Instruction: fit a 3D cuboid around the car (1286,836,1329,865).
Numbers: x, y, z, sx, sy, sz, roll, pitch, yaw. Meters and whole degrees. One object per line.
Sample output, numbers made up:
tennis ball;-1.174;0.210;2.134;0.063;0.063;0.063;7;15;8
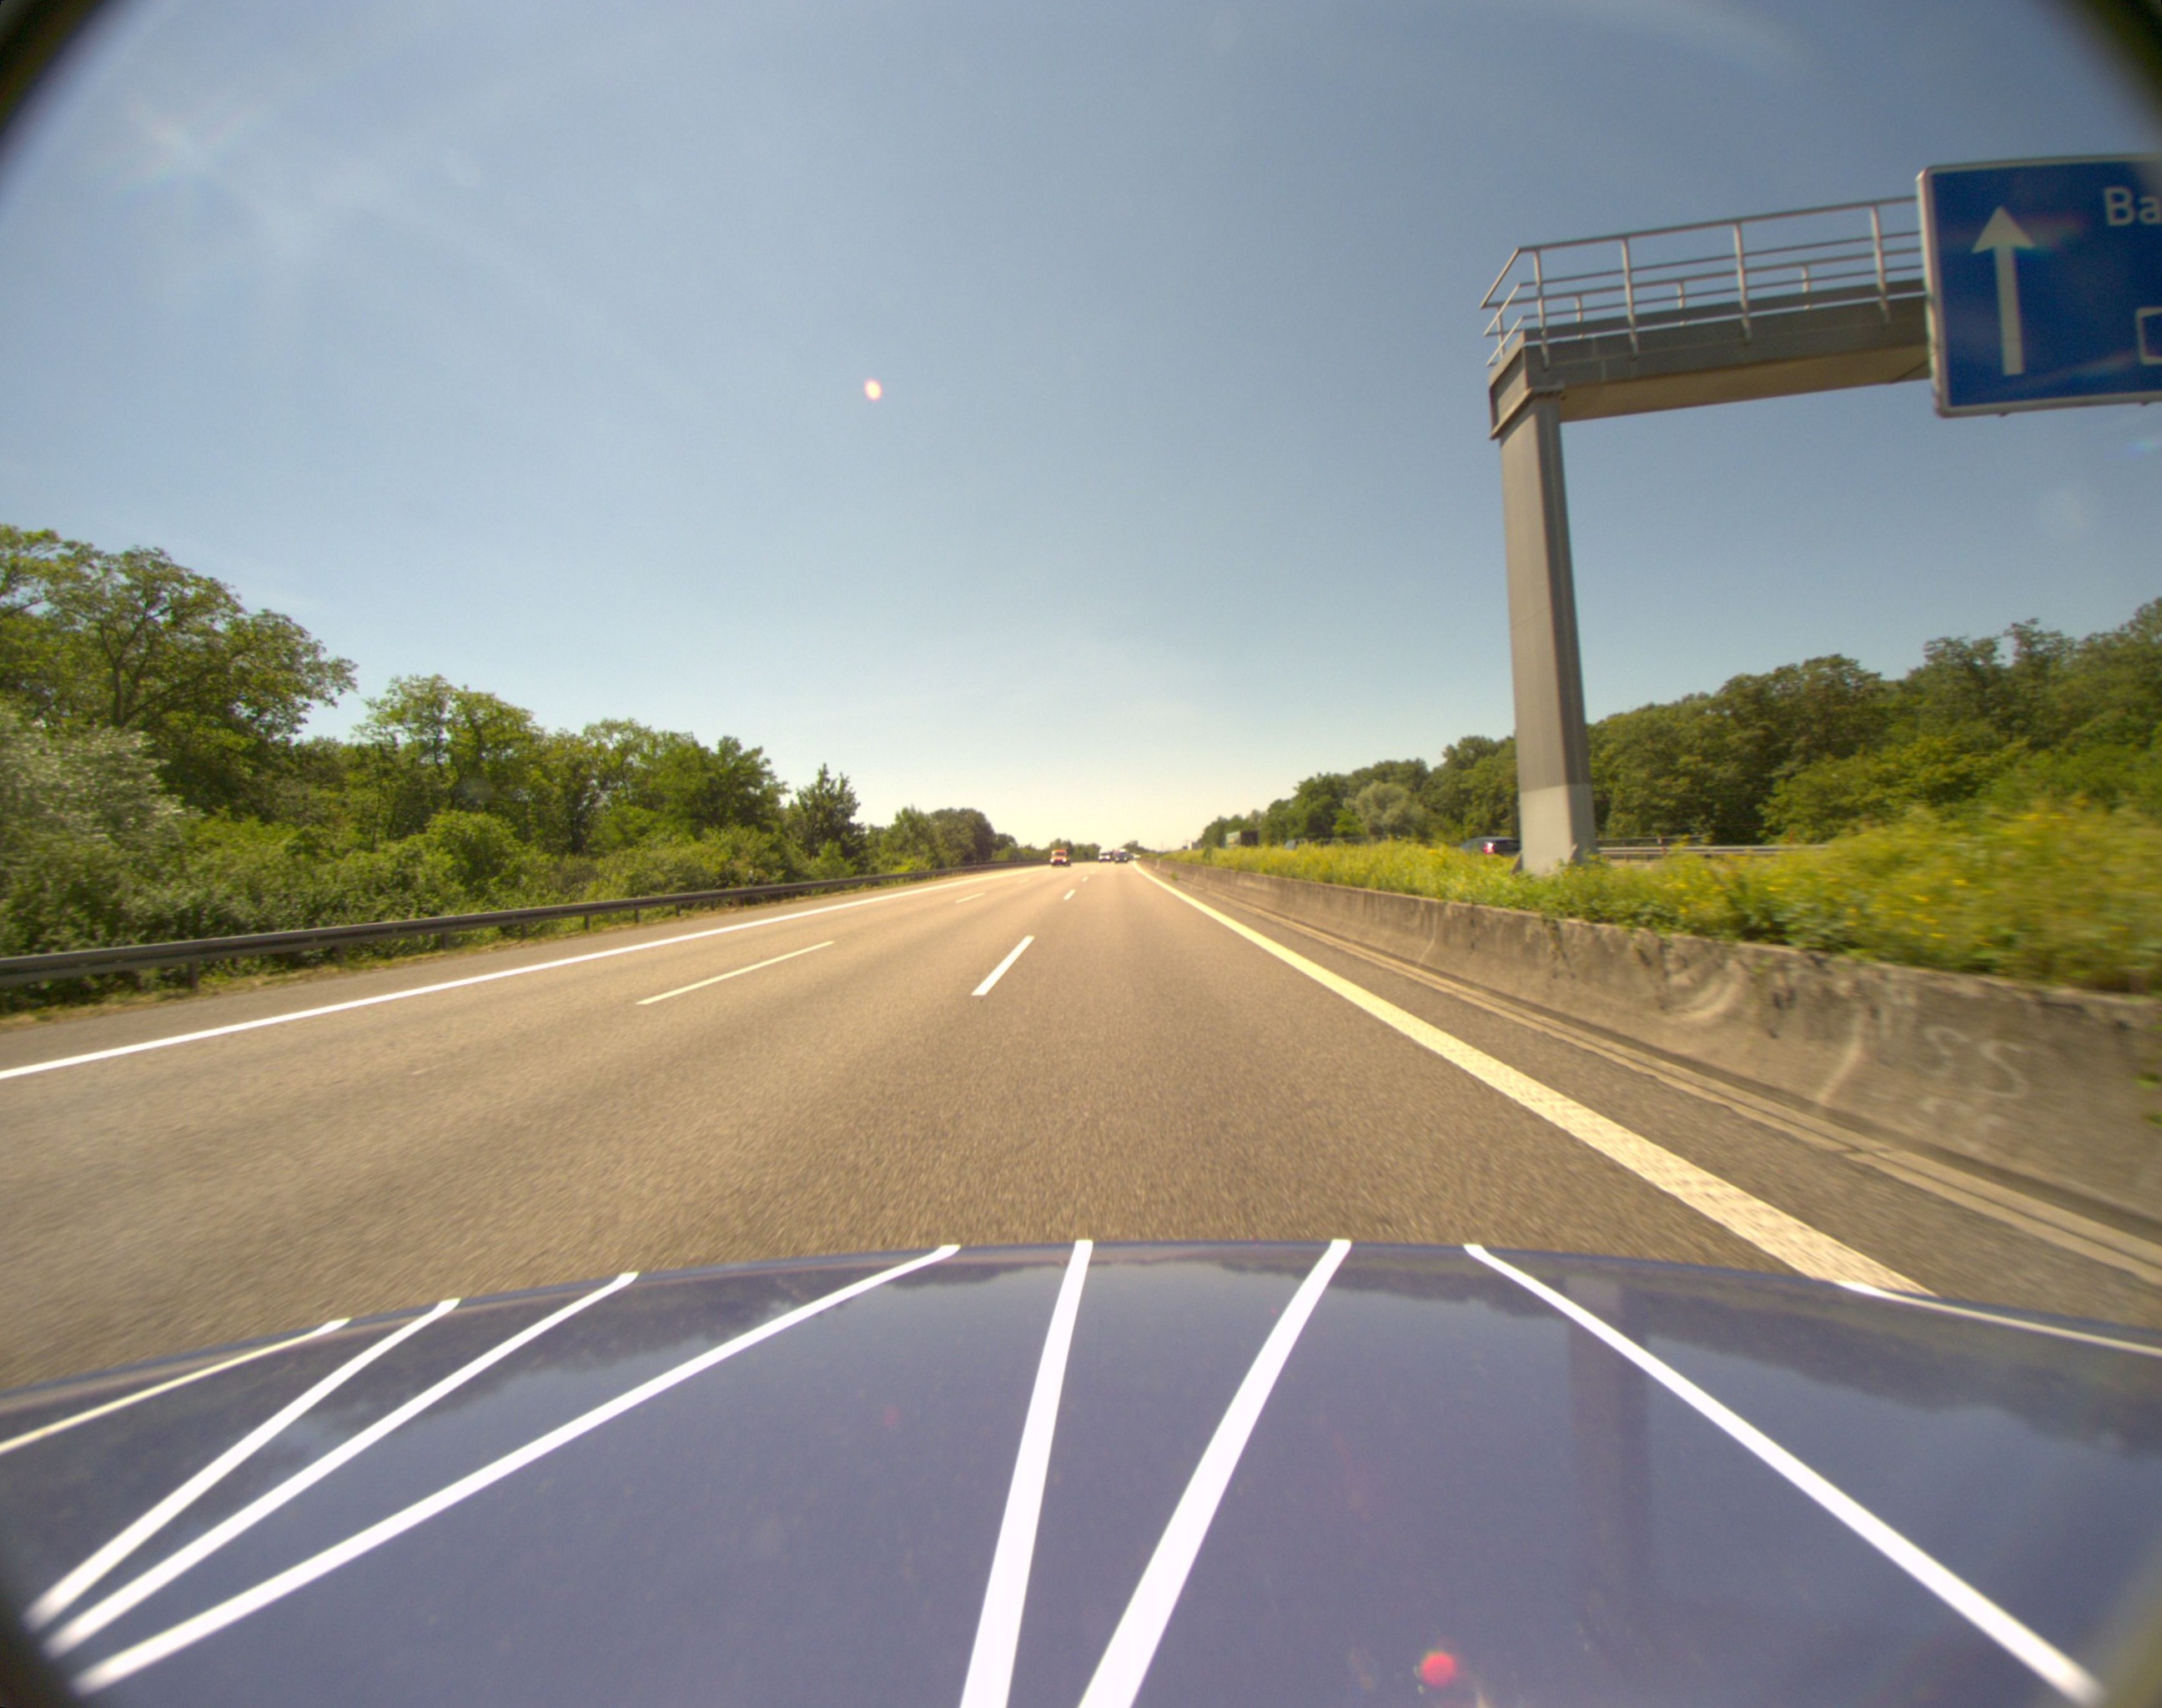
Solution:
car;16.938;-0.261;57.005;1.998;2.002;4.000;-2;0;1

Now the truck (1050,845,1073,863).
truck;-2.642;-0.051;106.746;2.436;2.426;10.010;-2;1;3

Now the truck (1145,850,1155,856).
truck;12.454;-0.199;137.895;1.478;1.172;4.000;-2;0;0

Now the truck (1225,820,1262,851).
truck;24.064;-2.686;113.256;3.185;4.206;14.498;-2;0;3

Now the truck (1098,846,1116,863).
truck;5.197;0.000;151.328;2.858;3.163;10.714;-2;0;5

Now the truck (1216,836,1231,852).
truck;36.392;-2.510;194.191;2.365;3.842;9.034;-2;0;3

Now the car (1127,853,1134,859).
car;14.597;0.706;224.415;1.879;1.630;4.000;-2;1;2

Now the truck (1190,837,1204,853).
truck;30.061;-2.302;196.740;2.661;3.842;9.034;-2;0;3

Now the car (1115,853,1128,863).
car;6.191;0.635;115.736;1.800;1.390;4.834;-2;0;3

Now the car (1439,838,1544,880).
car;14.923;0.155;27.901;1.671;1.348;4.000;-2;0;0
